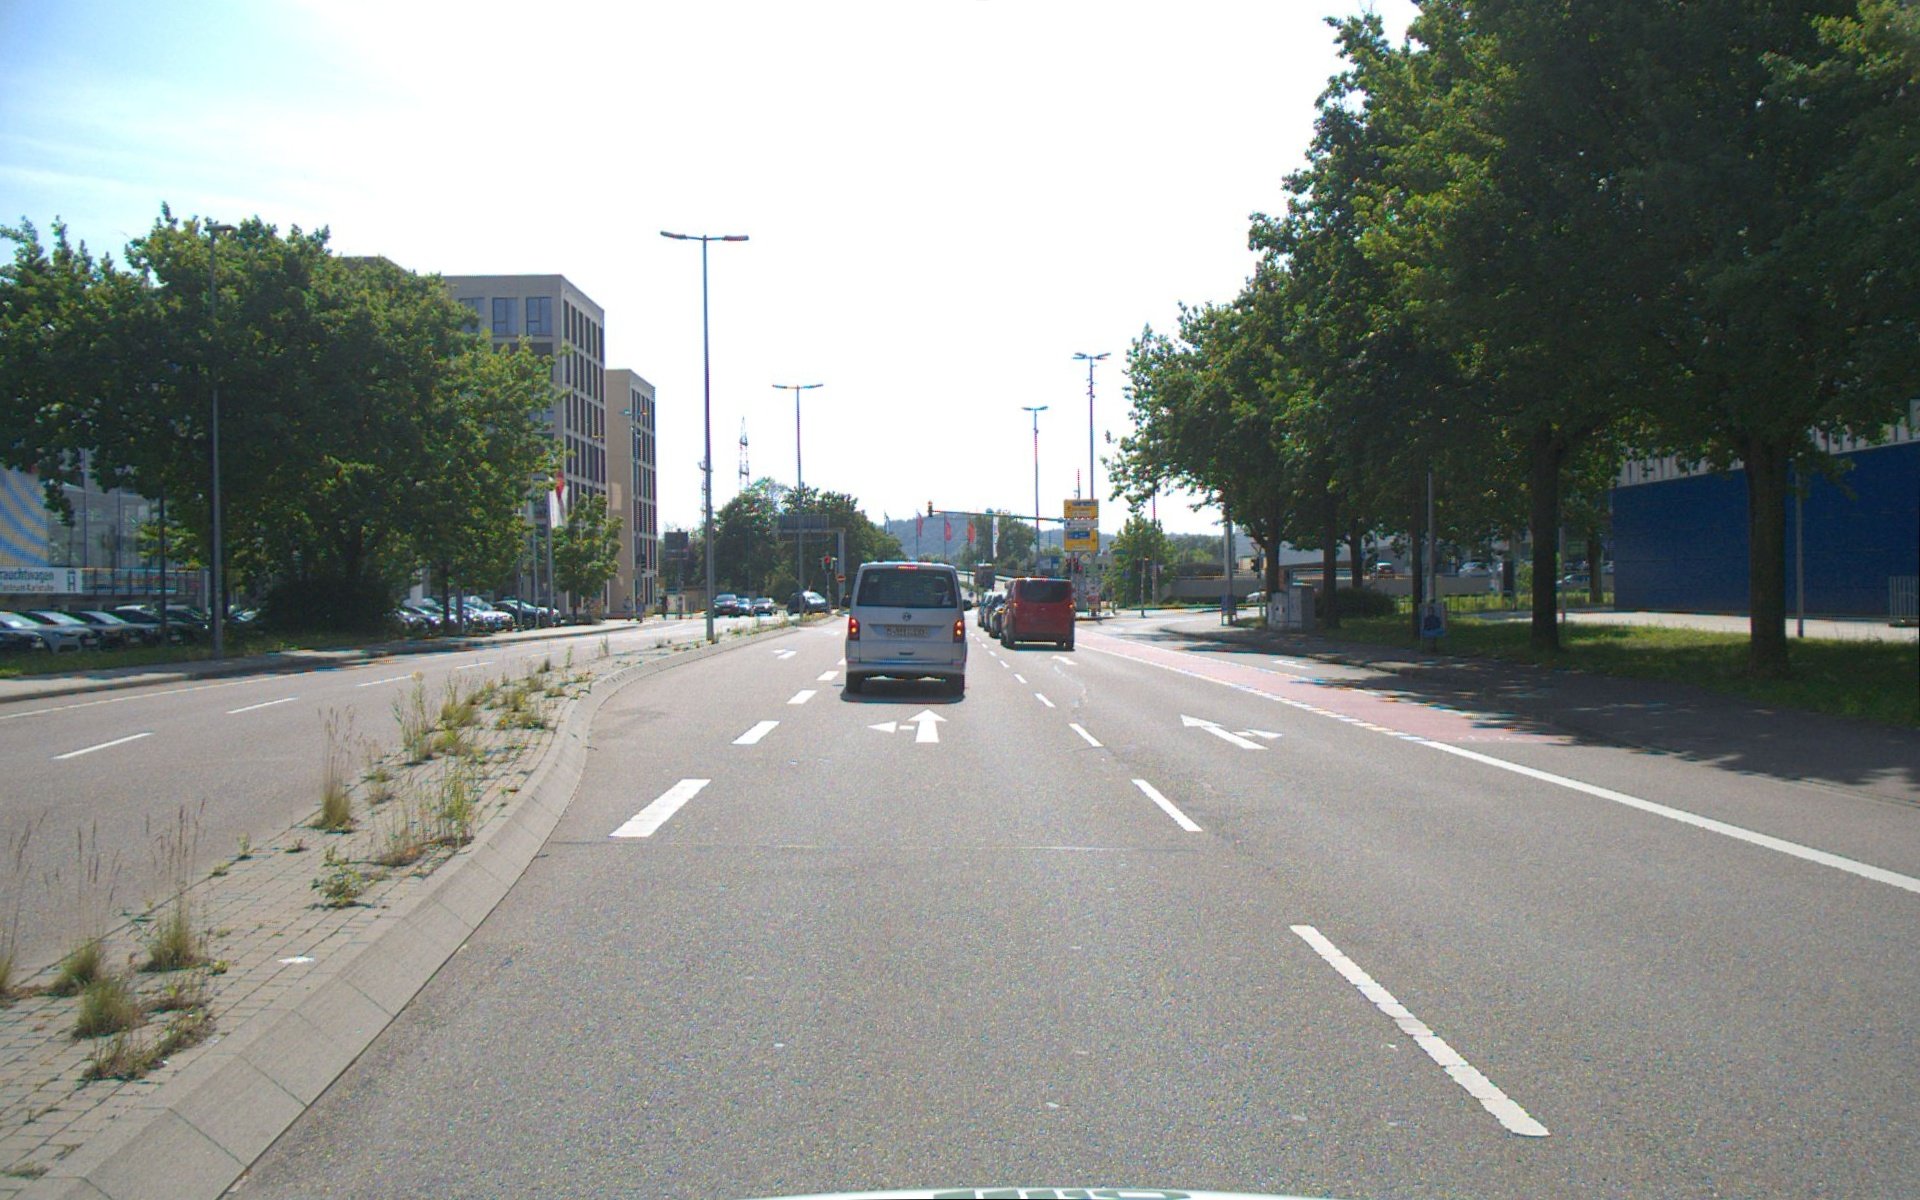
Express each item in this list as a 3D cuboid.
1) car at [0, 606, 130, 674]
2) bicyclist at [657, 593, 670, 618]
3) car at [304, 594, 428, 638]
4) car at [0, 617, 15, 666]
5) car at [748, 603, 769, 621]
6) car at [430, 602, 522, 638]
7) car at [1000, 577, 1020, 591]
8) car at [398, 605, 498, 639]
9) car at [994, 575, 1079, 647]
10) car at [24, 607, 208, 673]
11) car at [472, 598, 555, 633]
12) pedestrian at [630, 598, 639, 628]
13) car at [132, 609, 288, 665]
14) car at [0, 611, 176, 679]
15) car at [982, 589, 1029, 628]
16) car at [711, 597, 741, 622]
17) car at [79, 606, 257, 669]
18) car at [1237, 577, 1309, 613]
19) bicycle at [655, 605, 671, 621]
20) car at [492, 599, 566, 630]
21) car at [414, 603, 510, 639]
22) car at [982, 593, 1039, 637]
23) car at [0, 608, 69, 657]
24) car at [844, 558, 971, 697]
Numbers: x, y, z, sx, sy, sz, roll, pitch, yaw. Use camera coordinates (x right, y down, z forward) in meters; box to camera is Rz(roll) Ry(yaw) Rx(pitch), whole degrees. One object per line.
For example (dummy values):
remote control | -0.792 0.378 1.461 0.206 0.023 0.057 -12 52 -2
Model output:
car | -23.304 1.061 41.410 3.907 1.467 2.000 -5 0 -1
bicyclist | -18.898 0.371 105.284 0.606 1.553 1.036 -2 0 0
car | -23.557 0.622 65.695 4.081 1.354 2.038 -4 1 2
car | -23.421 1.086 36.348 4.092 1.096 1.954 -4 1 -3
car | -17.668 1.032 145.237 1.545 1.434 4.376 -1 0 -4
car | -23.393 0.962 79.999 3.794 1.388 1.749 -4 1 2
car | 7.628 -2.384 251.612 1.961 2.049 3.982 0 0 -16
car | -23.084 0.995 74.627 3.794 1.186 1.912 -4 1 2
car | 2.193 0.287 48.908 1.929 2.002 5.121 0 0 -4
car | -23.762 1.098 46.661 4.056 1.467 2.000 -5 0 -1
car | -23.698 0.811 87.936 3.795 1.490 1.868 -4 1 0
pedestrian | -22.032 0.889 111.967 0.548 2.049 0.575 0 0 -9
car | -23.567 1.140 52.109 3.907 1.382 2.000 -5 0 -1
car | -23.493 1.199 44.051 4.163 1.467 2.000 -5 0 -1
car | 1.839 0.337 68.001 1.711 1.543 4.077 0 0 -1
car | -16.486 0.663 116.664 1.704 1.646 4.206 -4 0 -4
car | -23.626 1.107 49.481 4.219 1.467 2.051 -5 0 -2
car | 20.348 -0.311 107.667 4.310 2.029 1.481 -4 0 3
bicycle | -18.902 0.812 105.288 0.666 0.957 1.973 -2 0 0
car | -23.546 0.774 90.418 3.521 1.381 1.640 -4 1 -1
car | -23.259 0.967 77.327 3.794 1.356 1.849 -4 1 2
car | 1.727 0.493 57.698 1.711 1.484 4.475 0 0 -1
car | -23.376 0.886 38.721 4.027 1.052 1.696 -4 1 -3
car | -0.808 0.395 26.199 1.846 2.025 3.999 0 0 -1
